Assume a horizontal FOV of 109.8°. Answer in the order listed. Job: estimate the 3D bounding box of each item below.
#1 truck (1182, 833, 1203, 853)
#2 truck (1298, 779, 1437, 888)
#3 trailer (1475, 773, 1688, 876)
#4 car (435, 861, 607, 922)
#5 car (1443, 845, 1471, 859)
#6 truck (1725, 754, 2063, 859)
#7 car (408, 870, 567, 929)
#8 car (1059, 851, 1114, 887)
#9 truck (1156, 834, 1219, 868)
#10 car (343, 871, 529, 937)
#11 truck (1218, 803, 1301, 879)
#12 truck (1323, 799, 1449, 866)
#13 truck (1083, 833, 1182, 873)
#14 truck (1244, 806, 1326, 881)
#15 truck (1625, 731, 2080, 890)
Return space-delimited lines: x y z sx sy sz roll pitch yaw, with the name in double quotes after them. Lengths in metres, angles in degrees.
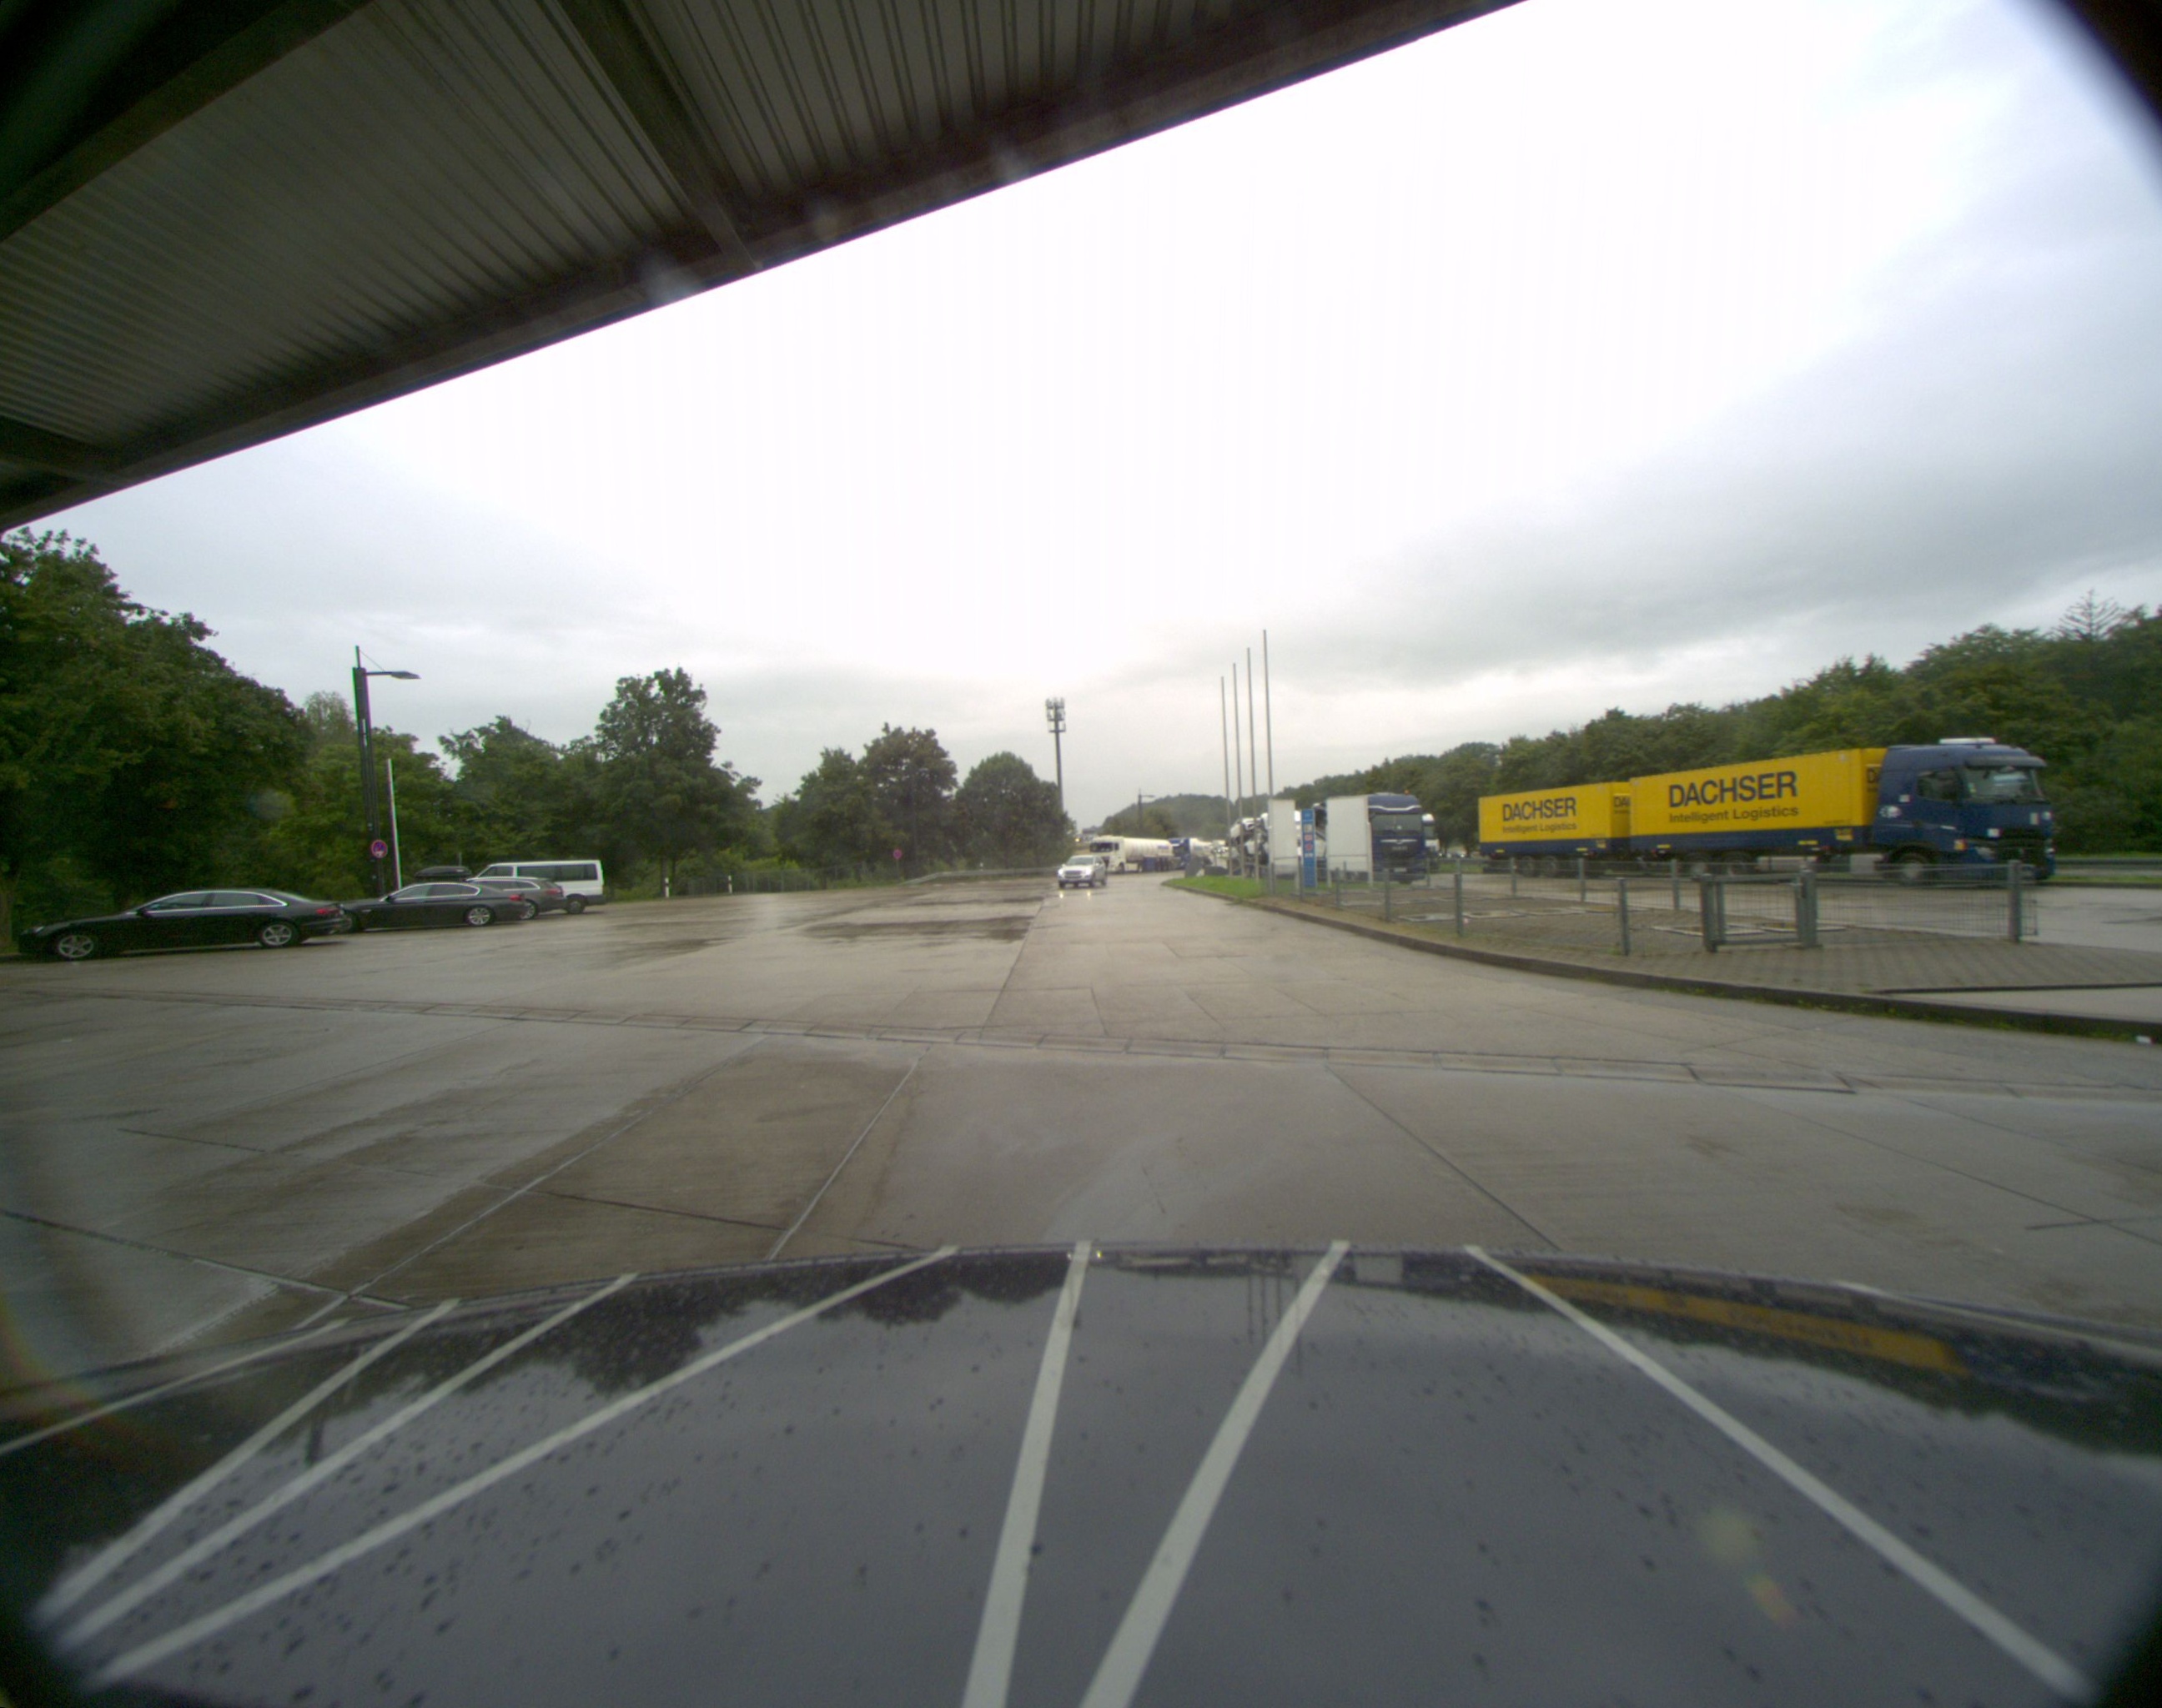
30.367 -2.987 207.395 3.145 5.092 11.515 -2 1 -5 "truck"
12.194 -0.797 33.160 2.665 4.157 7.103 -2 0 -6 "truck"
21.802 -1.187 33.927 2.757 3.894 8.700 -2 1 -9 "trailer"
-20.417 1.292 27.978 4.898 1.938 2.310 -2 0 -35 "car"
51.795 -0.307 104.688 1.889 1.813 3.999 -2 1 1 "car"
33.921 -1.765 32.691 2.421 3.785 10.223 -2 1 -10 "truck"
-19.462 1.431 25.141 4.007 1.650 1.596 -2 0 -35 "car"
0.359 0.793 42.021 1.864 1.788 4.544 -2 0 15 "car"
12.796 -0.404 89.670 3.506 3.584 14.685 -2 0 23 "truck"
-18.866 1.398 22.489 4.007 1.650 1.596 -2 0 -35 "car"
10.582 -0.727 45.759 2.665 4.157 6.618 -2 1 -6 "truck"
19.894 -1.301 50.548 2.757 3.894 10.678 -2 1 -8 "truck"
5.467 -0.161 75.189 3.505 3.584 14.426 -2 0 31 "truck"
11.057 -0.559 41.568 2.665 3.750 4.747 -2 1 -6 "truck"
23.163 -1.131 24.306 2.757 3.894 10.678 -2 1 -8 "truck"
